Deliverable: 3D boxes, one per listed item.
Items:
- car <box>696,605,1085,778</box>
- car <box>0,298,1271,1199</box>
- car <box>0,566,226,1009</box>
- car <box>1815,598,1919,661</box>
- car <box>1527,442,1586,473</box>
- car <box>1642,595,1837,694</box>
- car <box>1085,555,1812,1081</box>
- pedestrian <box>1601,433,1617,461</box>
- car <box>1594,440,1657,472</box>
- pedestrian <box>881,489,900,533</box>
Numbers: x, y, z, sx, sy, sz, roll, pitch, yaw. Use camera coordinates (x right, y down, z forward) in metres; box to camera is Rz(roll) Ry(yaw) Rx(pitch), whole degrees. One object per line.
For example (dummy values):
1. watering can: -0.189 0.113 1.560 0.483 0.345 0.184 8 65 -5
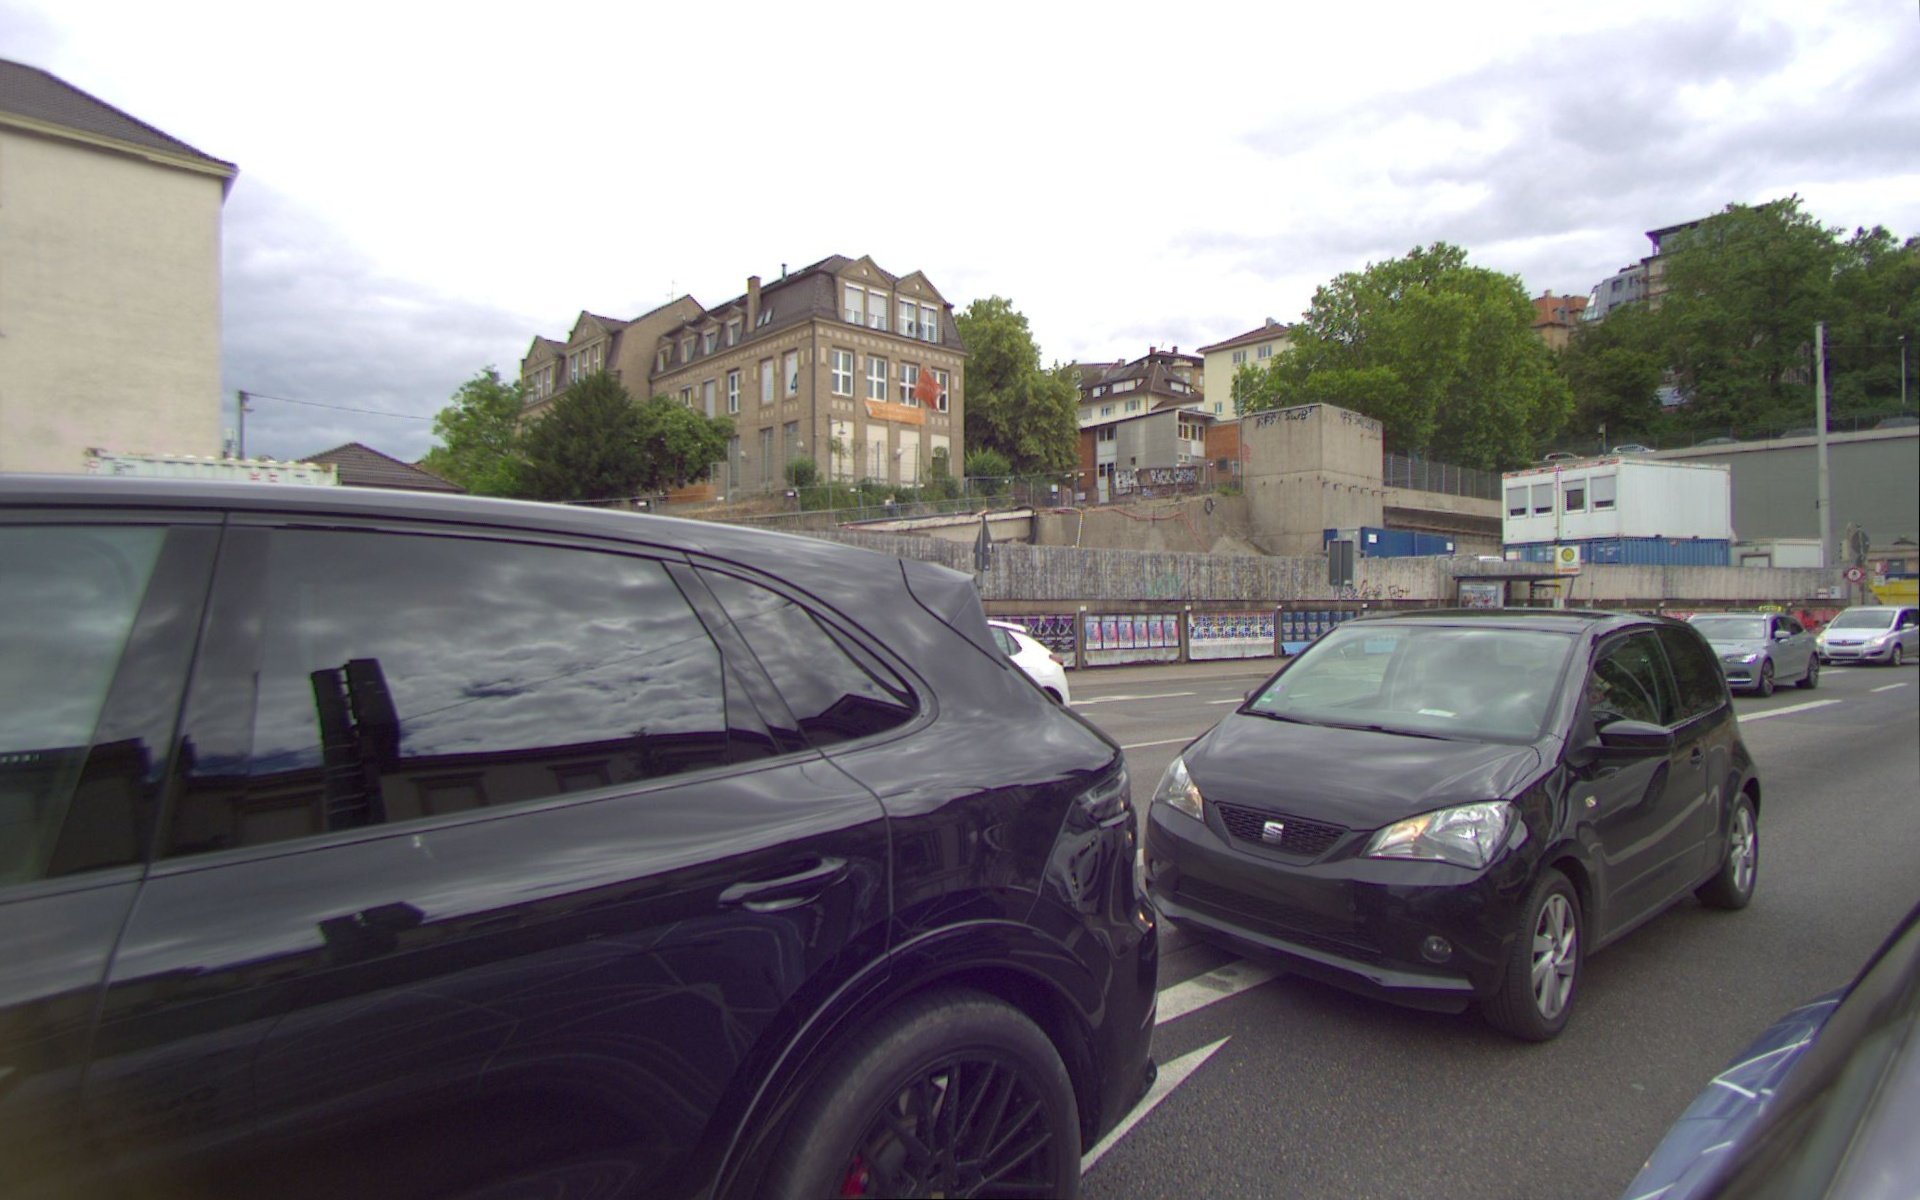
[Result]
1. car: -0.637 0.826 10.855 3.927 1.498 1.663 0 0 -38
2. car: -1.633 0.560 1.708 4.552 1.707 1.959 0 -1 -40
3. car: -4.894 0.671 3.426 3.812 1.563 1.667 0 -1 -40
4. car: 25.301 0.747 27.567 4.460 1.579 1.707 0 0 -31
5. car: 50.216 -11.969 85.247 3.988 2.039 1.968 0 1 45
6. car: 14.445 0.727 18.655 4.570 1.591 1.826 0 0 -39
7. car: 2.516 0.633 4.795 3.812 1.515 1.667 0 -1 -40
8. pedestrian: 51.153 -12.074 79.806 0.891 2.039 0.849 0 -1 -45
9. car: 53.533 -11.564 81.459 3.988 2.039 1.968 0 1 45
10. pedestrian: -3.350 -4.289 48.971 0.656 2.039 0.644 0 0 -45
